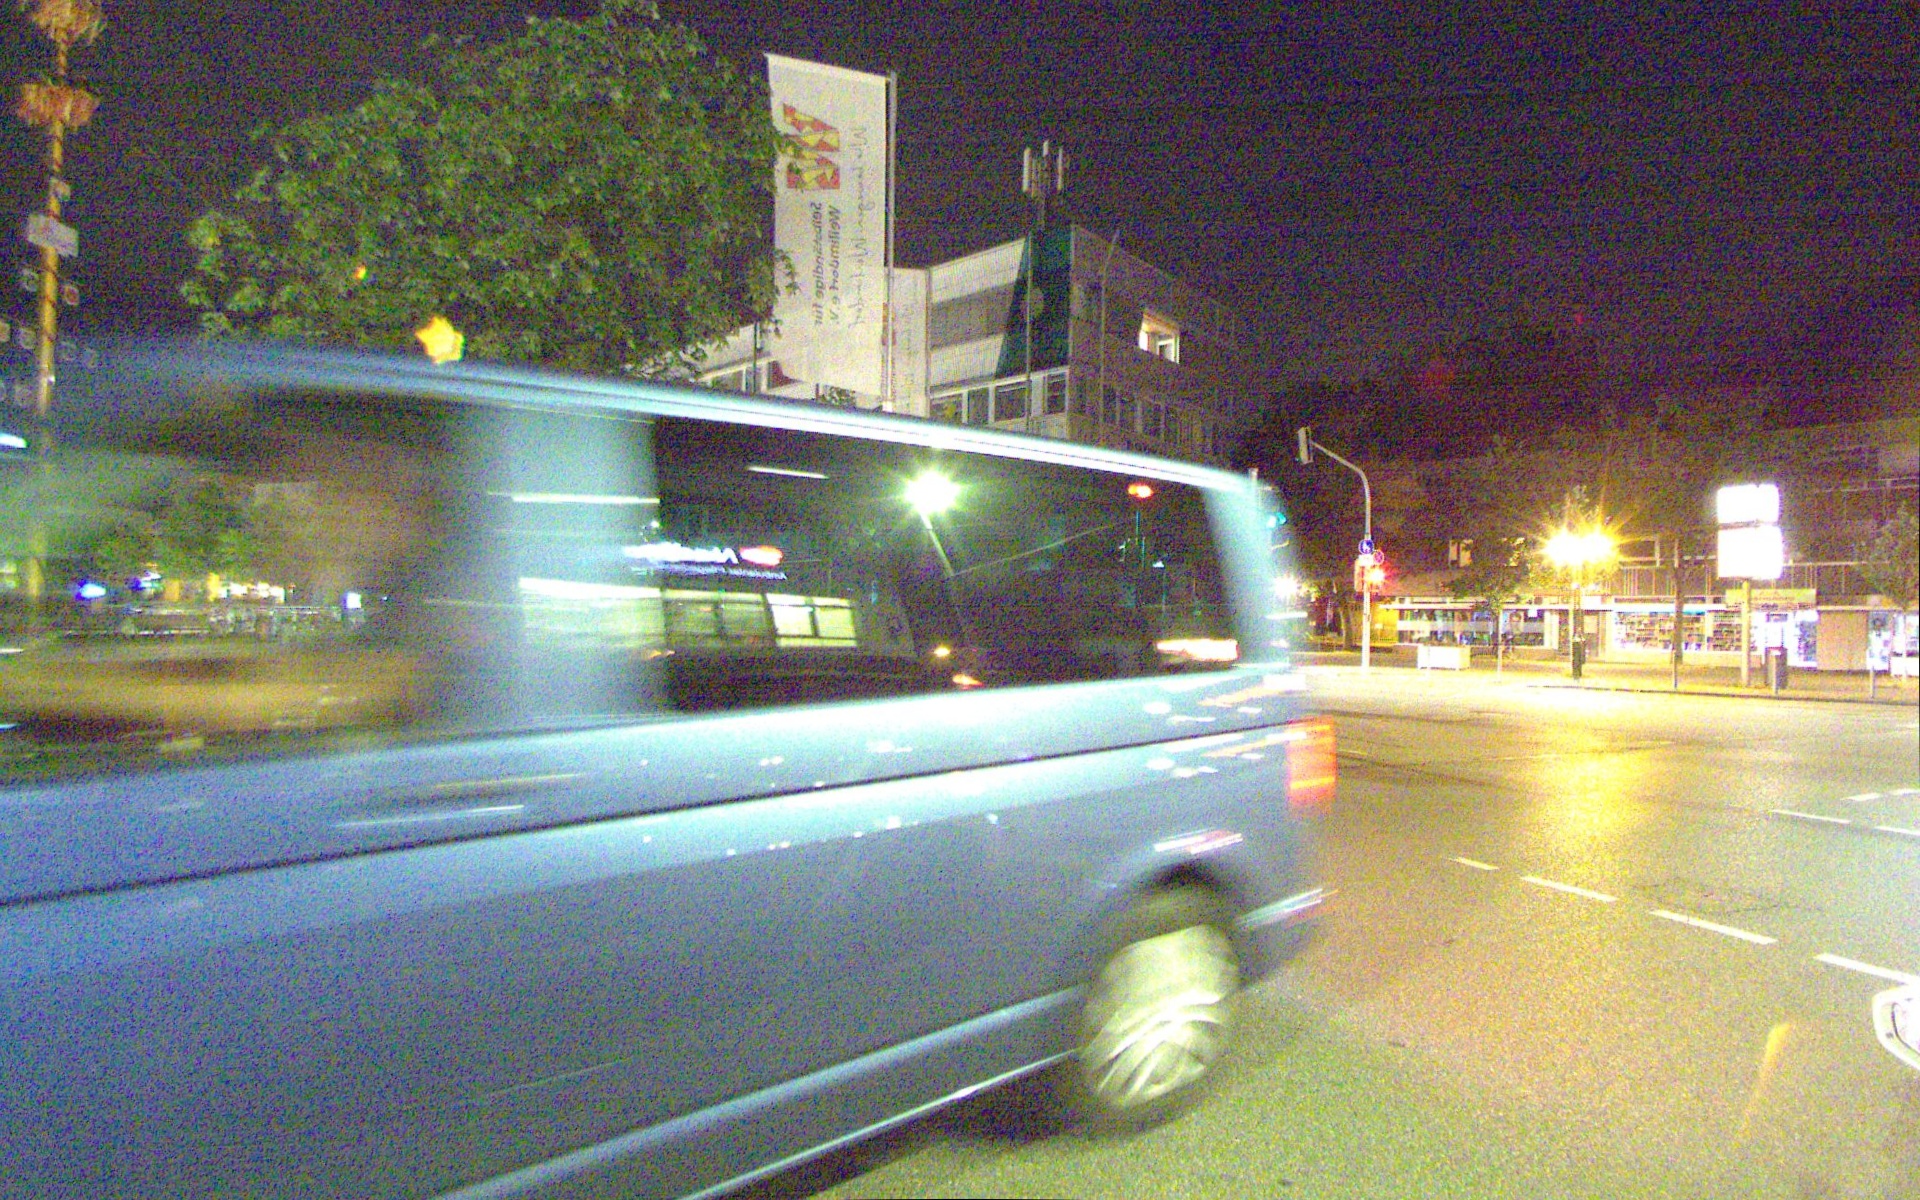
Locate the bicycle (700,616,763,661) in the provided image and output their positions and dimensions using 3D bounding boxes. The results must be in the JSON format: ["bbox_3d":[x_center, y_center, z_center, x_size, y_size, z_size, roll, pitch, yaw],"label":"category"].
[{"bbox_3d":[-5.650,0.955,24.925,0.440,1.068,1.525,2,0,43],"label":"bicycle"}]

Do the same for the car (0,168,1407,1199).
[{"bbox_3d":[-1.010,0.443,2.652,4.868,1.896,1.952,2,-2,-38],"label":"car"}]

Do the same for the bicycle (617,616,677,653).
[{"bbox_3d":[-8.530,0.949,27.423,0.473,0.970,1.525,2,0,44],"label":"bicycle"}]

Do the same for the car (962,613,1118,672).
[{"bbox_3d":[2.289,1.190,29.308,4.253,1.473,1.870,2,0,41],"label":"car"}]

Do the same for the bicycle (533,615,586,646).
[{"bbox_3d":[-13.172,1.009,33.055,0.473,0.970,1.525,2,0,44],"label":"bicycle"}]

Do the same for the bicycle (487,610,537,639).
[{"bbox_3d":[-15.560,0.855,34.901,0.473,0.970,1.525,2,0,44],"label":"bicycle"}]
